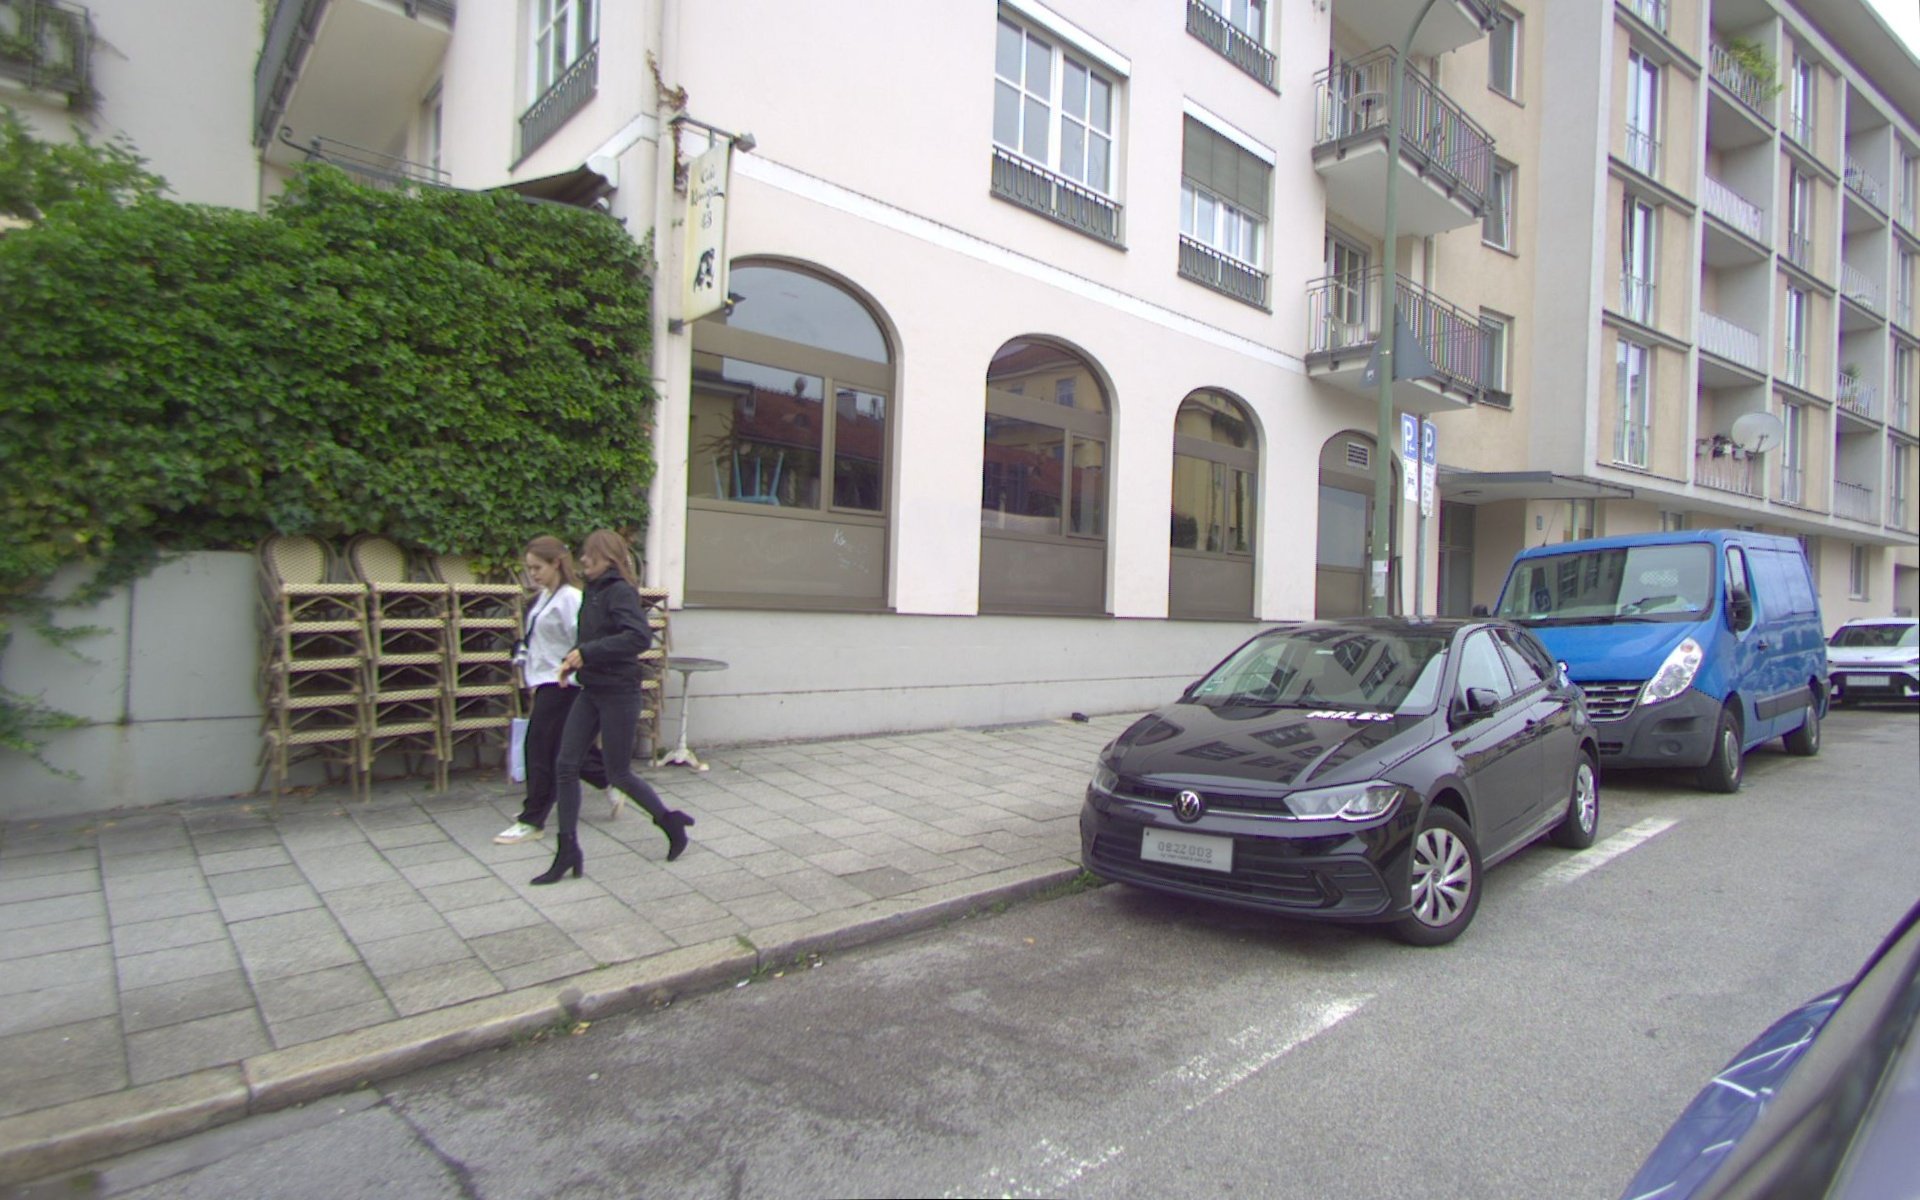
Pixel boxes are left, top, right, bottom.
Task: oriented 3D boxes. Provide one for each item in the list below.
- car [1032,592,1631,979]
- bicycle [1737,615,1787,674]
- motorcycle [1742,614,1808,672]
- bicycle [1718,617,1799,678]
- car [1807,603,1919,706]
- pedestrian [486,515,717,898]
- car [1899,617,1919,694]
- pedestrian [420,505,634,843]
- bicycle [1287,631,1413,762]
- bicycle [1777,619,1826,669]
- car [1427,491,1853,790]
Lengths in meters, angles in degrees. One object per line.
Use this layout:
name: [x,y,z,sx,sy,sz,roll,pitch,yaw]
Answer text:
car: [2.338,0.735,5.745,1.714,1.413,3.935,-3,-3,44]
bicycle: [17.572,0.960,22.161,1.345,1.216,0.448,1,4,-37]
motorcycle: [19.397,1.012,24.075,2.002,1.287,0.638,1,1,-35]
bicycle: [18.074,1.056,22.926,1.338,1.216,0.388,6,4,43]
car: [15.869,0.912,16.975,4.226,1.543,1.778,2,-4,-40]
pedestrian: [-1.726,0.448,4.882,0.816,1.648,0.679,1,2,-44]
car: [20.274,1.065,19.747,4.602,1.448,1.777,2,-4,-34]
pedestrian: [-2.332,0.343,5.440,0.815,1.626,0.808,1,2,-42]
bicycle: [3.703,0.852,9.520,0.564,1.083,1.761,2,0,39]
bicycle: [20.999,1.084,25.246,1.570,1.171,0.515,1,1,-35]
car: [6.880,0.327,10.011,4.940,2.242,2.112,-1,-3,-40]
